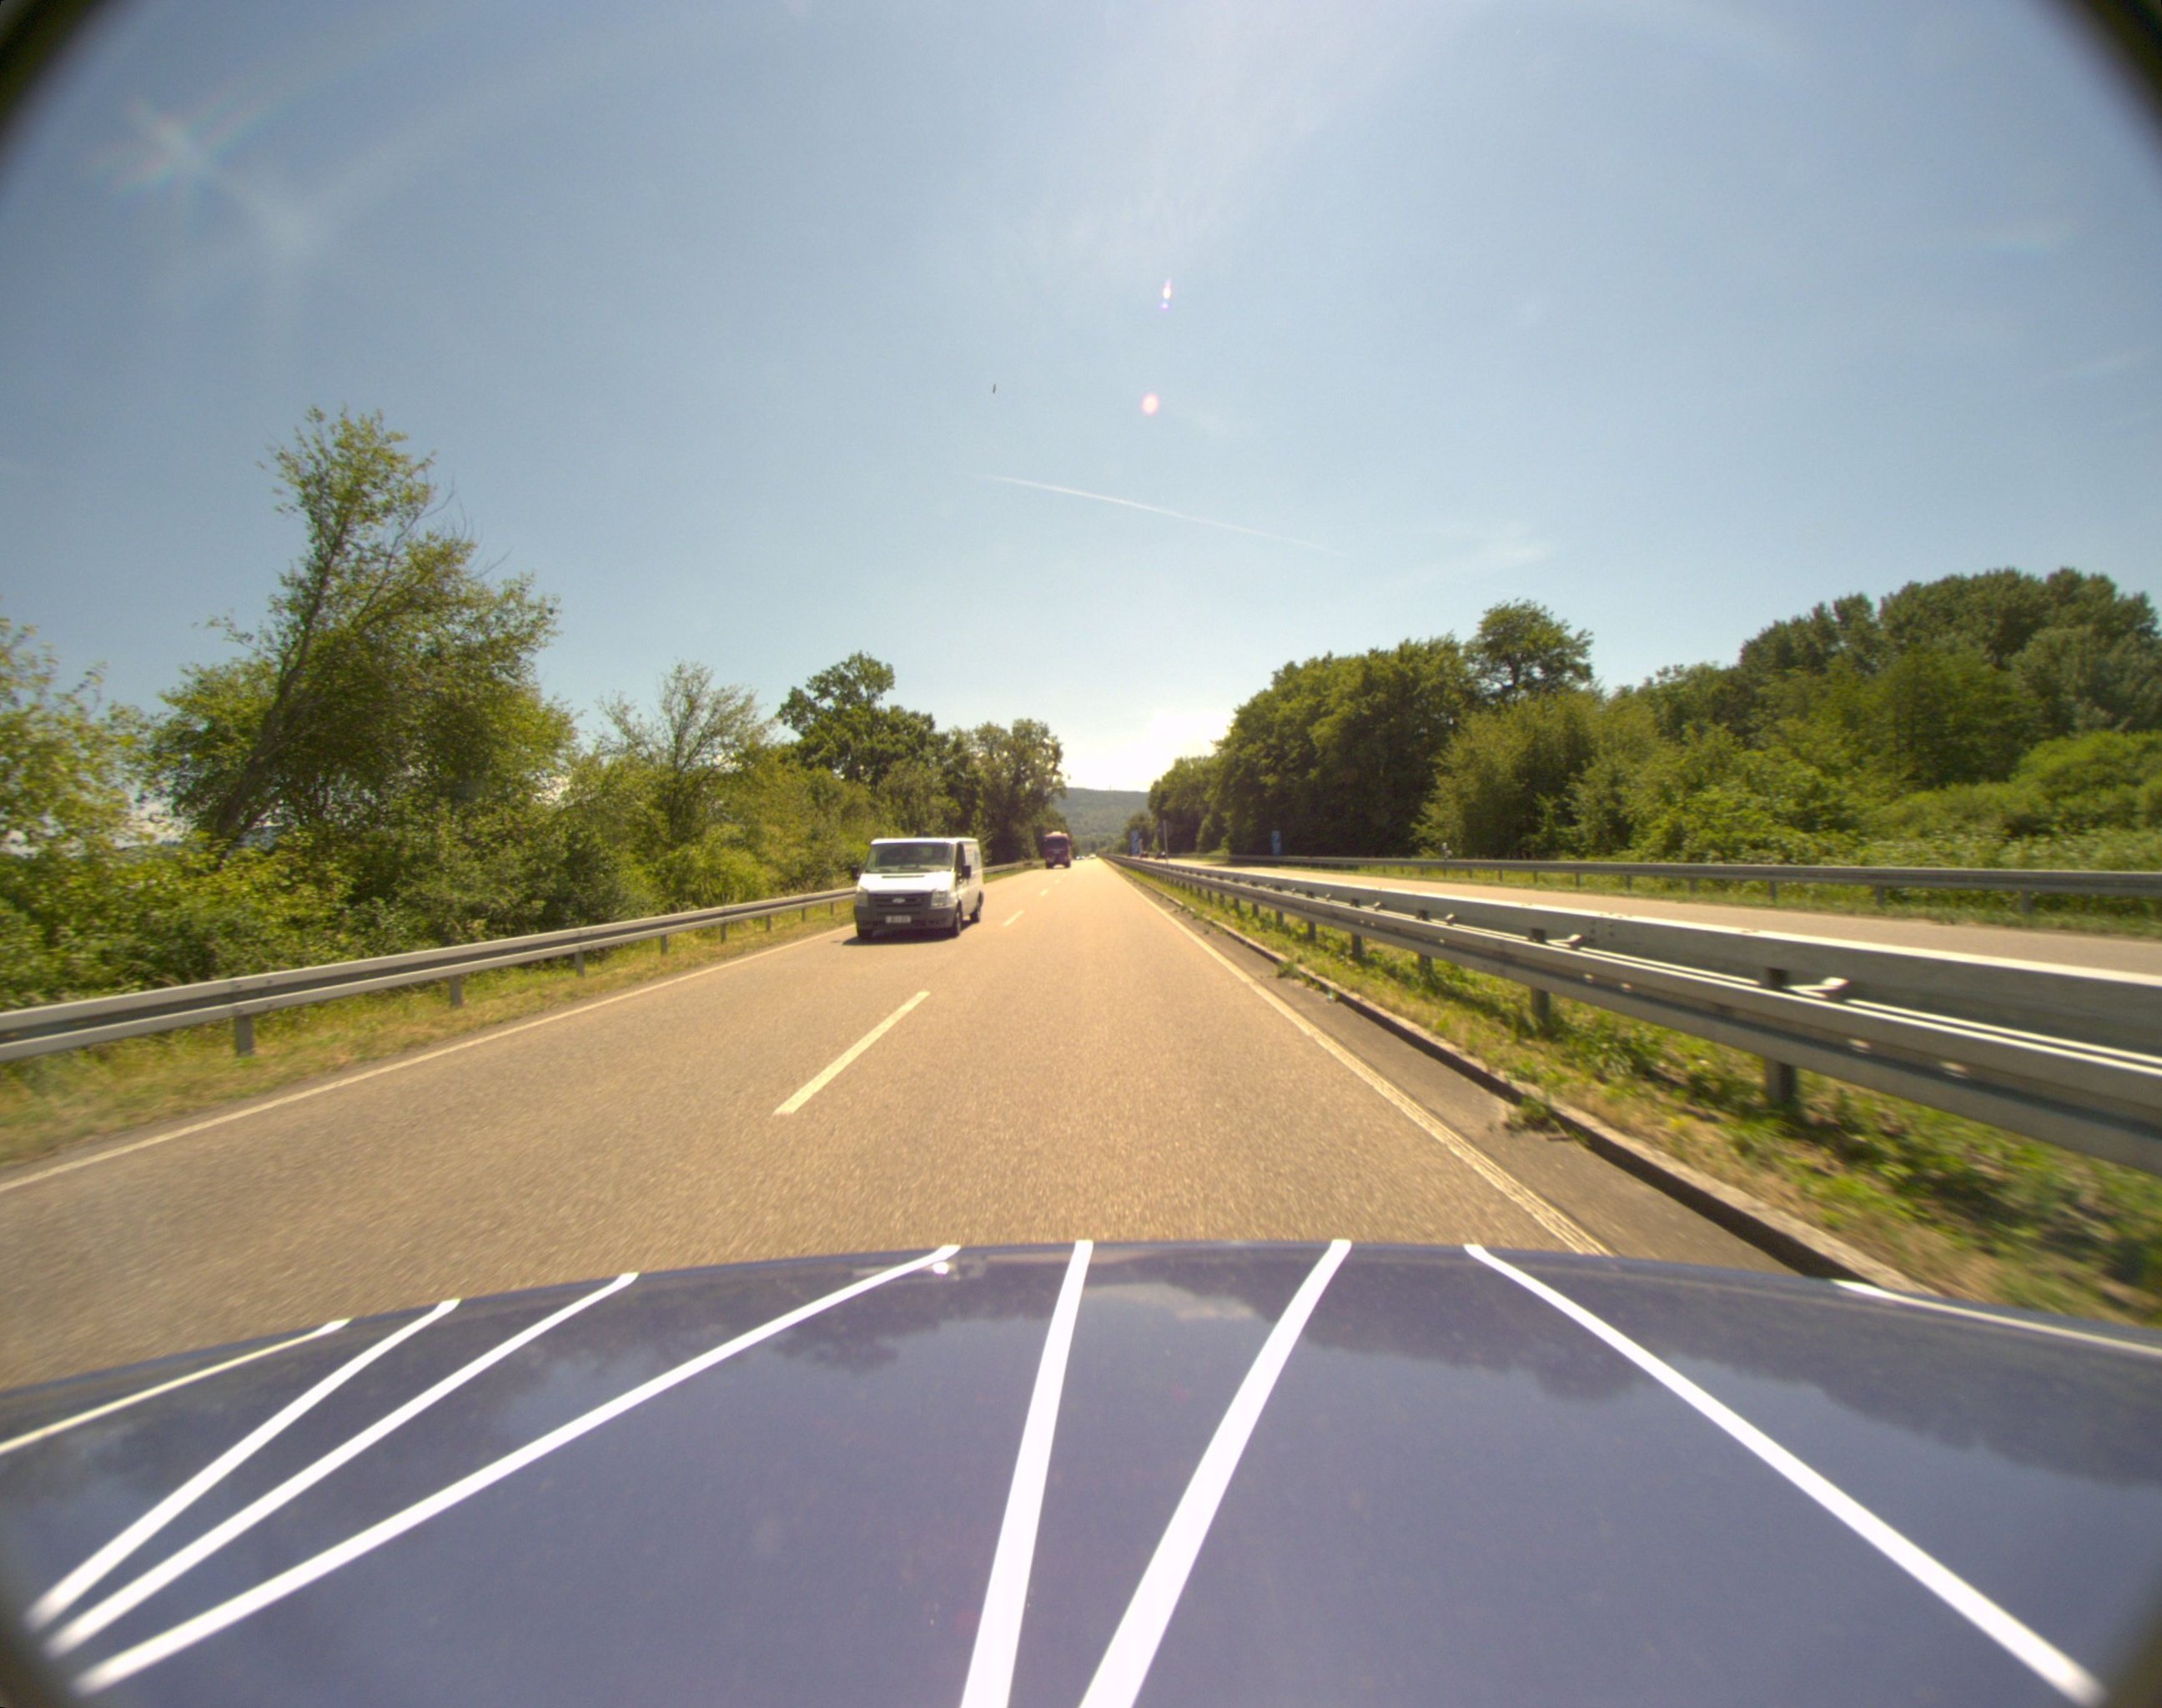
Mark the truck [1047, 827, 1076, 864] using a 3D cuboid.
[{"bbox_3d":[-2.038,-0.848,81.413,2.605,3.669,5.939,-4,0,0],"label":"truck"}]

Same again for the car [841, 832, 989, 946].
[{"bbox_3d":[-3.334,0.657,16.350,2.011,1.977,5.034,-3,0,0],"label":"car"}]

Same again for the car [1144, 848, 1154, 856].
[{"bbox_3d":[13.620,-0.373,153.028,1.780,1.411,4.575,-2,1,2],"label":"car"}]

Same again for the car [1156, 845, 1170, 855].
[{"bbox_3d":[12.181,-0.593,113.215,1.802,1.459,3.773,-3,1,2],"label":"car"}]

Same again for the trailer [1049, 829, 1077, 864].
[{"bbox_3d":[-1.983,-0.767,86.417,2.605,3.607,8.614,-4,-1,0],"label":"trailer"}]
